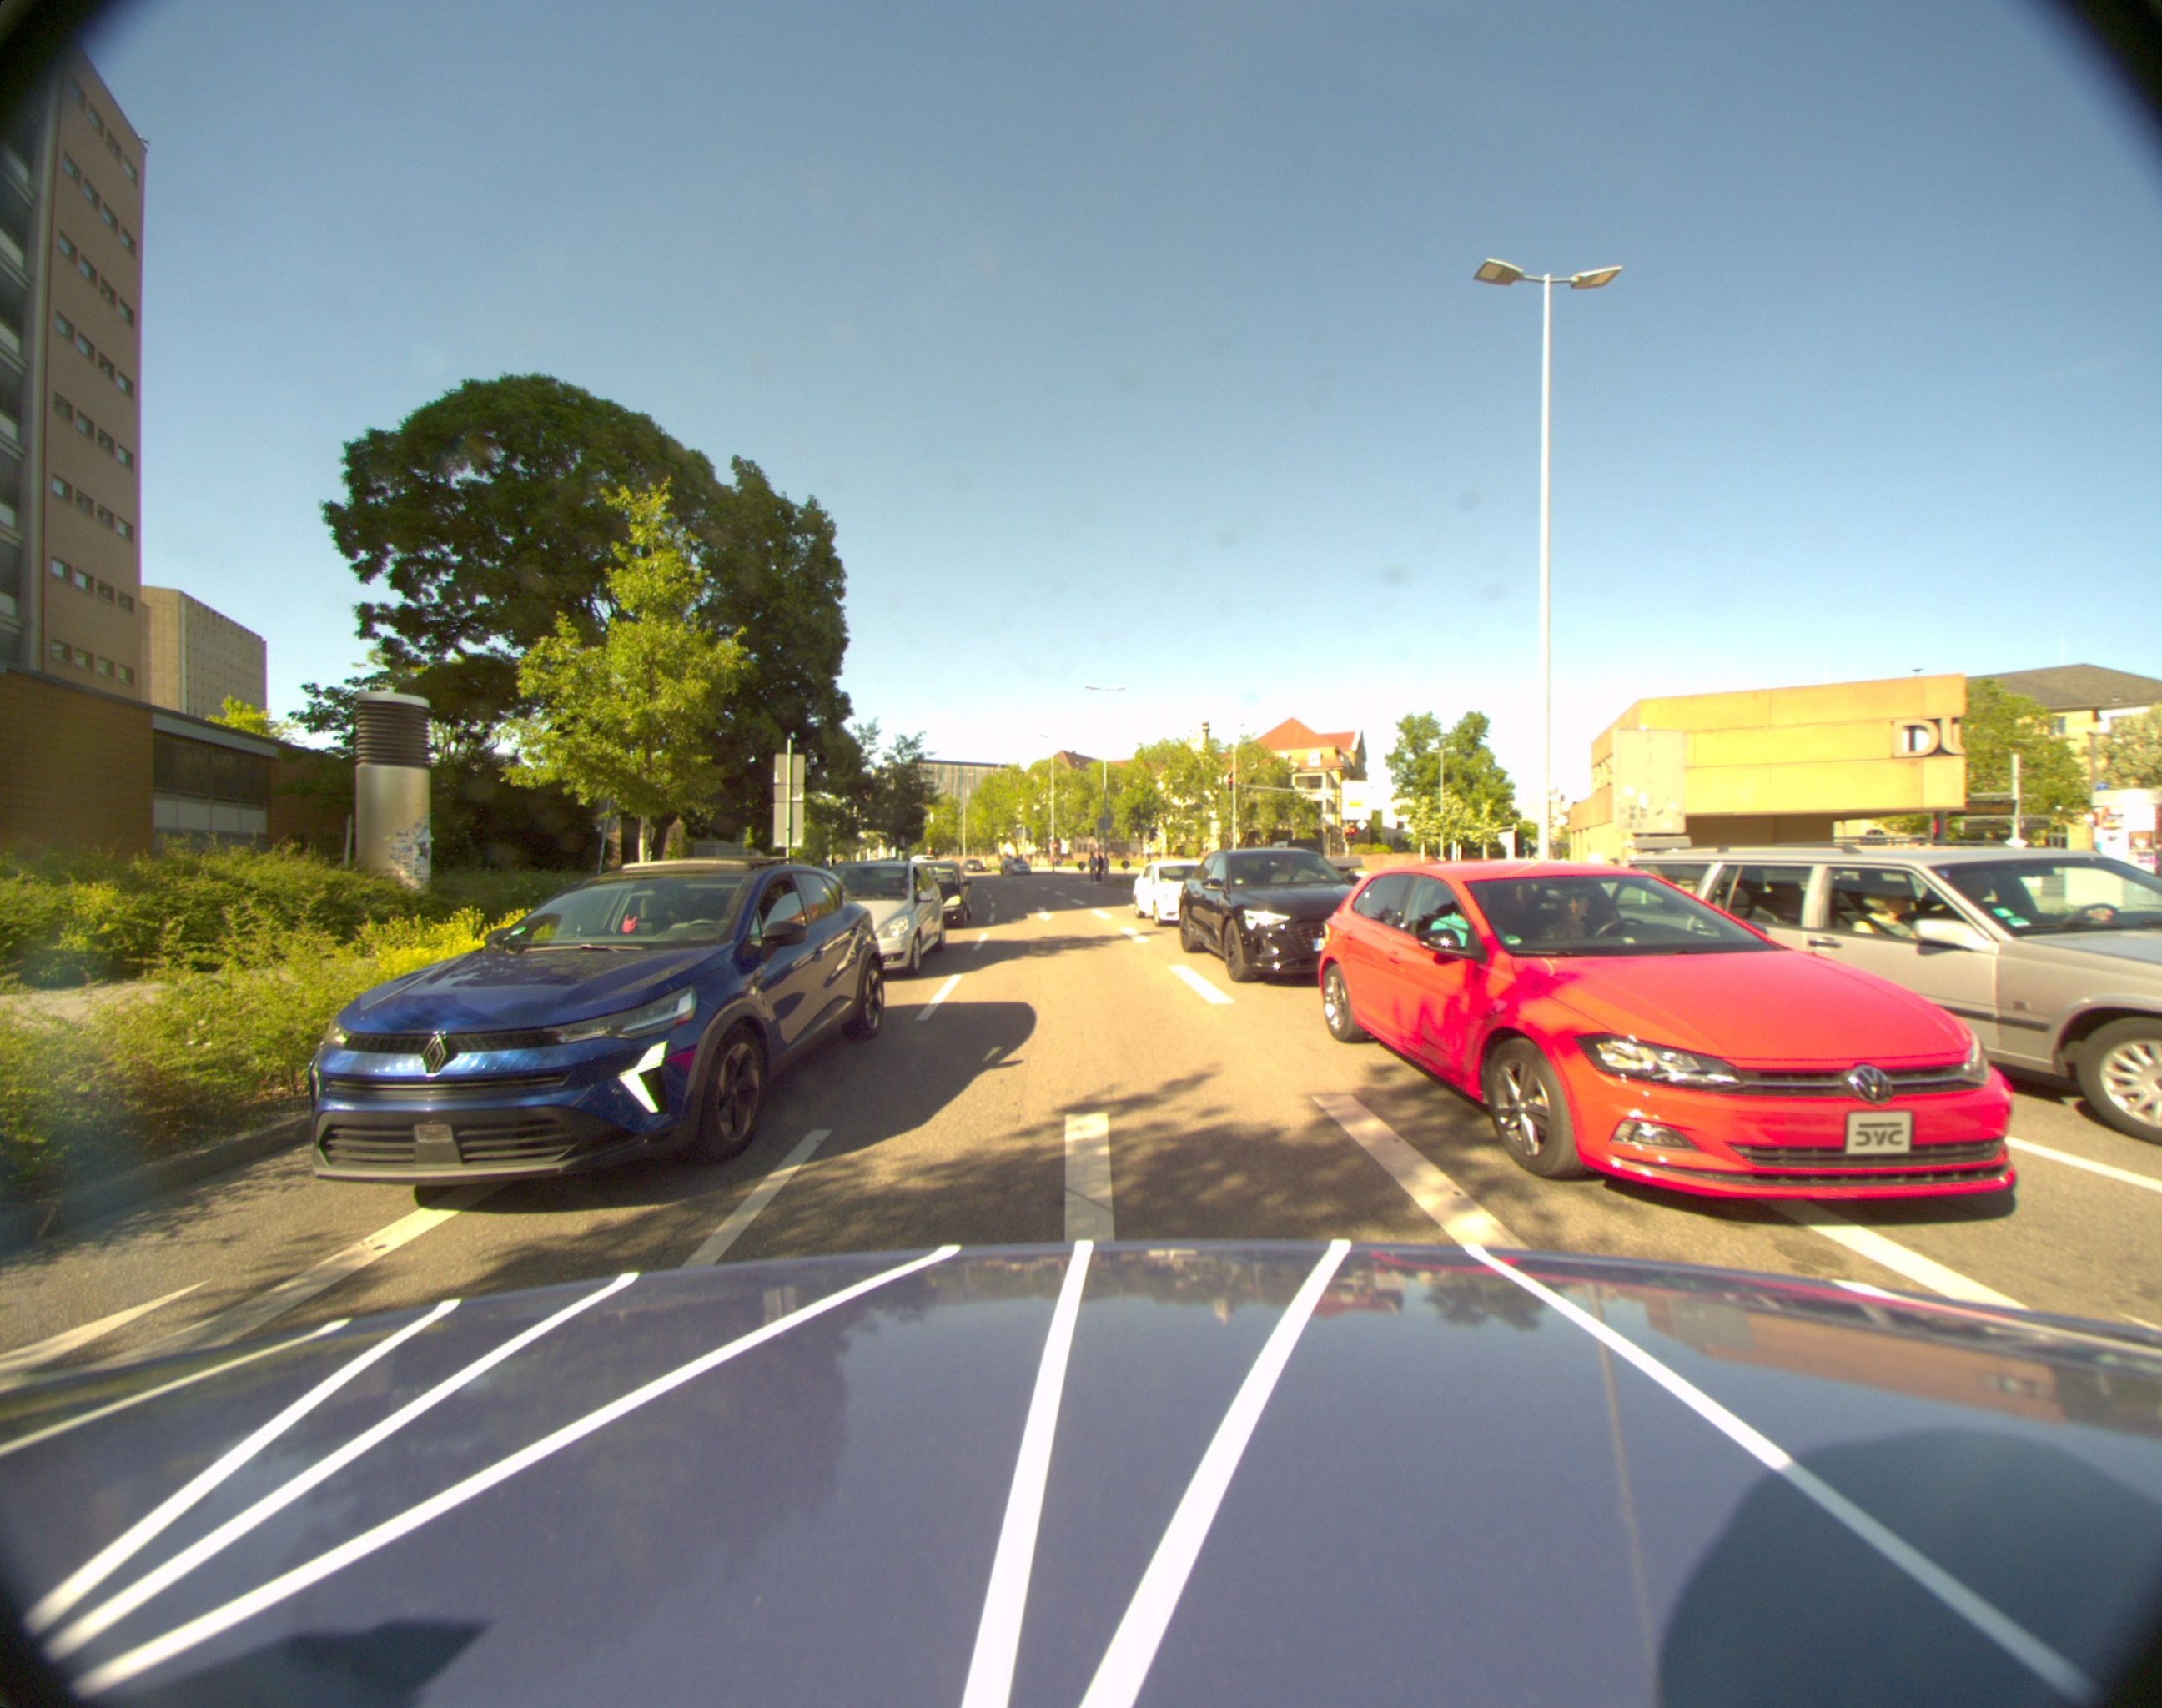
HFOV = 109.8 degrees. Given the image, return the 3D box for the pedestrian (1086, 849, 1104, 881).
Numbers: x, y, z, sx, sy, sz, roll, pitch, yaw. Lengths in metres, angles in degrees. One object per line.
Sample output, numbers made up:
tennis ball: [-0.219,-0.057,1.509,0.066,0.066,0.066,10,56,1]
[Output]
pedestrian: [0.812,0.621,44.513,0.887,1.814,0.776,-2,1,-7]

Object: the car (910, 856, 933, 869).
car: [-19.693,1.006,93.615,1.884,1.472,3.992,-2,0,-24]

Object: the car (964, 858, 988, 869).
car: [-11.424,1.027,82.865,1.587,1.197,3.992,0,0,-23]

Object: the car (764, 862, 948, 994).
car: [-3.180,0.952,11.594,1.786,1.615,4.042,0,0,-3]

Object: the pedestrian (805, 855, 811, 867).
pedestrian: [-44.862,1.147,124.785,0.823,1.906,0.770,-2,1,-26]

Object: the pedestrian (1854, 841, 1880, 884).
pedestrian: [33.187,0.351,32.079,0.645,1.766,0.468,-1,1,-4]

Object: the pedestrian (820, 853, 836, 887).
pedestrian: [-12.207,0.774,36.675,0.693,1.594,0.661,0,0,-14]

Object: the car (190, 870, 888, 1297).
car: [-2.673,0.959,5.069,1.705,1.596,4.084,-1,0,0]

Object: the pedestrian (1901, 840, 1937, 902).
pedestrian: [24.373,0.488,22.099,0.647,1.778,0.666,-3,1,-42]

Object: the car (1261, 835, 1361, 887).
car: [11.028,0.315,37.092,2.117,2.300,6.209,-1,0,-10]

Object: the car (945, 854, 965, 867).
car: [-15.597,0.845,93.789,1.598,1.596,3.066,-1,0,-26]

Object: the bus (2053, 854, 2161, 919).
bus: [21.629,0.617,14.104,1.646,1.234,4.181,0,0,-5]

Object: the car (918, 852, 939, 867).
car: [-20.906,0.781,103.940,1.790,2.002,4.223,-2,1,-26]

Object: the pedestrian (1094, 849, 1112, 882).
pedestrian: [1.229,0.636,43.205,0.757,1.814,0.775,-2,1,-17]

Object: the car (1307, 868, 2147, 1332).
car: [2.796,0.873,4.525,1.674,1.464,3.853,-2,0,-1]

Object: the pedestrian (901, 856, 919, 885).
pedestrian: [-9.428,0.915,41.826,0.659,1.594,0.694,0,0,38]

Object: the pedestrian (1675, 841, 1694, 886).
pedestrian: [24.080,0.365,30.313,0.467,1.766,0.647,0,1,29]

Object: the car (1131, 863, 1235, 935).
car: [2.269,0.963,17.835,1.575,1.410,3.711,-1,0,-6]

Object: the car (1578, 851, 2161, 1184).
car: [5.767,0.772,4.968,1.713,1.464,4.752,-4,-1,-2]

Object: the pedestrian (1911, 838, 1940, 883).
pedestrian: [33.122,0.258,29.817,0.645,1.766,0.468,-1,1,-4]

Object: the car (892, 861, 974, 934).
car: [-3.566,0.985,18.794,1.651,1.601,3.488,0,0,-6]

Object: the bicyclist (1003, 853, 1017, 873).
bicyclist: [-5.795,0.725,62.092,0.696,1.549,0.814,-3,1,-40]

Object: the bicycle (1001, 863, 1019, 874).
bicycle: [-5.795,1.202,62.138,0.591,0.884,1.650,-3,1,-40]

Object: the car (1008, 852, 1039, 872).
car: [-5.245,0.740,69.253,1.527,1.670,3.373,-3,1,-27]

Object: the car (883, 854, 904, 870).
car: [-21.200,0.880,85.869,1.830,1.842,3.745,0,0,-21]

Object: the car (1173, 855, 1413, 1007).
car: [2.564,0.830,10.421,1.859,1.606,4.452,0,0,-3]

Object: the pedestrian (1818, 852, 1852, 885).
pedestrian: [30.189,0.556,30.422,0.645,1.303,0.763,-1,0,10]

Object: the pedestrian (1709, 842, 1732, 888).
pedestrian: [24.649,0.419,29.290,0.644,1.766,0.618,0,1,42]

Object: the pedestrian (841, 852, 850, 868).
pedestrian: [-27.873,0.713,89.951,0.823,1.906,0.770,-2,1,-28]

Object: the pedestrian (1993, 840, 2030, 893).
pedestrian: [31.371,0.416,25.628,0.644,1.766,0.469,0,1,21]

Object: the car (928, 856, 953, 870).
car: [-14.534,0.945,78.335,1.755,1.370,3.567,-1,0,-23]

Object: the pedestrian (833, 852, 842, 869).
pedestrian: [-28.840,0.748,89.867,0.823,1.906,0.770,-2,1,-28]
